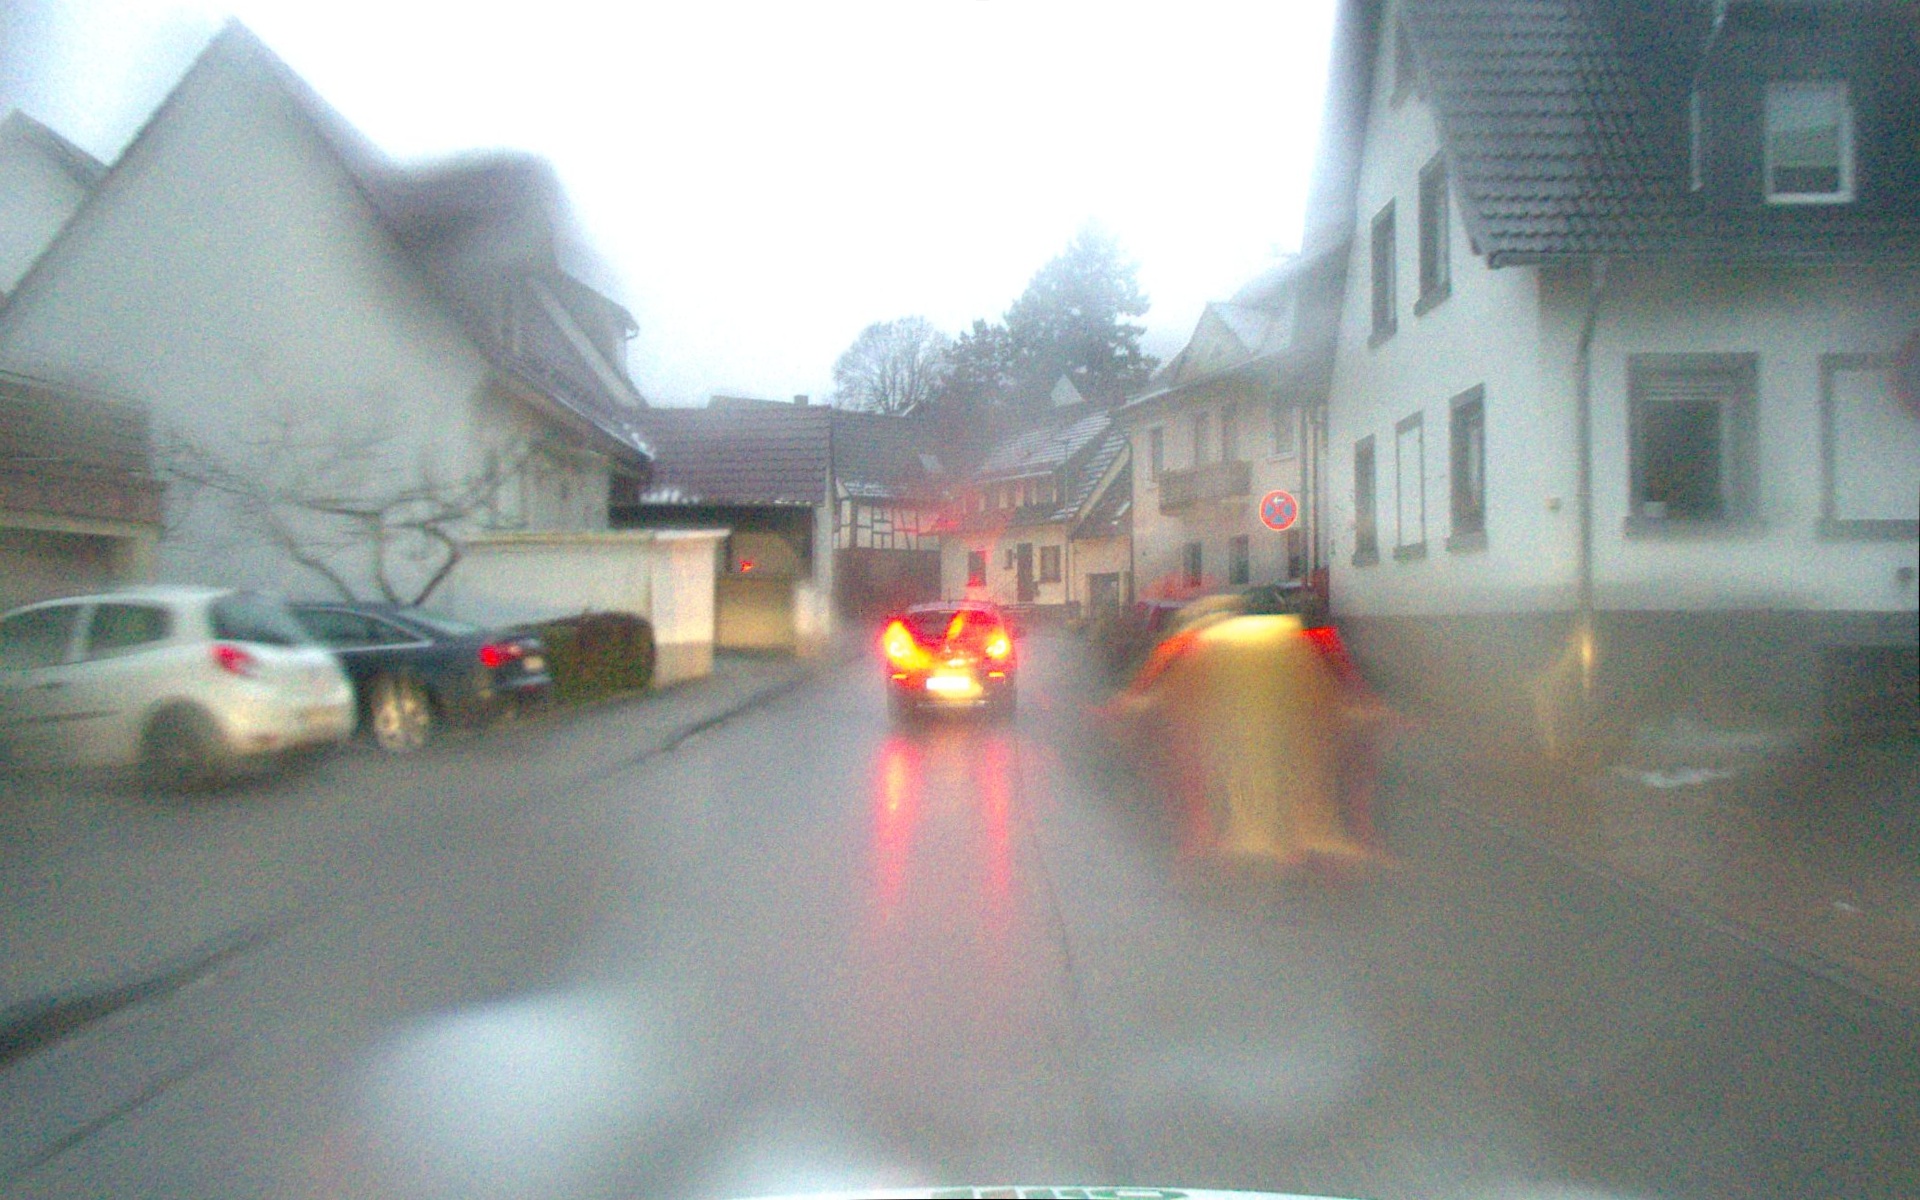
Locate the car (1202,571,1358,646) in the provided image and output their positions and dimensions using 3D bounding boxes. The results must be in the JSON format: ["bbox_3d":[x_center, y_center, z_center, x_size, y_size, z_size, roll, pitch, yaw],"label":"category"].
[{"bbox_3d":[7.125,0.227,37.280,1.776,1.513,4.262,-3,-1,-14],"label":"car"}]

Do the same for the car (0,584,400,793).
[{"bbox_3d":[-7.014,0.669,13.057,4.505,1.496,1.893,-1,0,6],"label":"car"}]

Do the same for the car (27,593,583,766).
[{"bbox_3d":[-6.110,0.716,15.825,4.498,1.496,2.000,-1,0,2],"label":"car"}]

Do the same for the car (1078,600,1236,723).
[{"bbox_3d":[2.614,0.771,22.748,1.604,1.520,3.999,1,0,-1],"label":"car"}]

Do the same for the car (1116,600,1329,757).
[{"bbox_3d":[2.741,0.763,18.082,1.604,1.497,3.999,1,0,-1],"label":"car"}]

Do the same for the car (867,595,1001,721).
[{"bbox_3d":[-0.268,0.692,21.739,1.514,1.491,3.700,1,0,3],"label":"car"}]
